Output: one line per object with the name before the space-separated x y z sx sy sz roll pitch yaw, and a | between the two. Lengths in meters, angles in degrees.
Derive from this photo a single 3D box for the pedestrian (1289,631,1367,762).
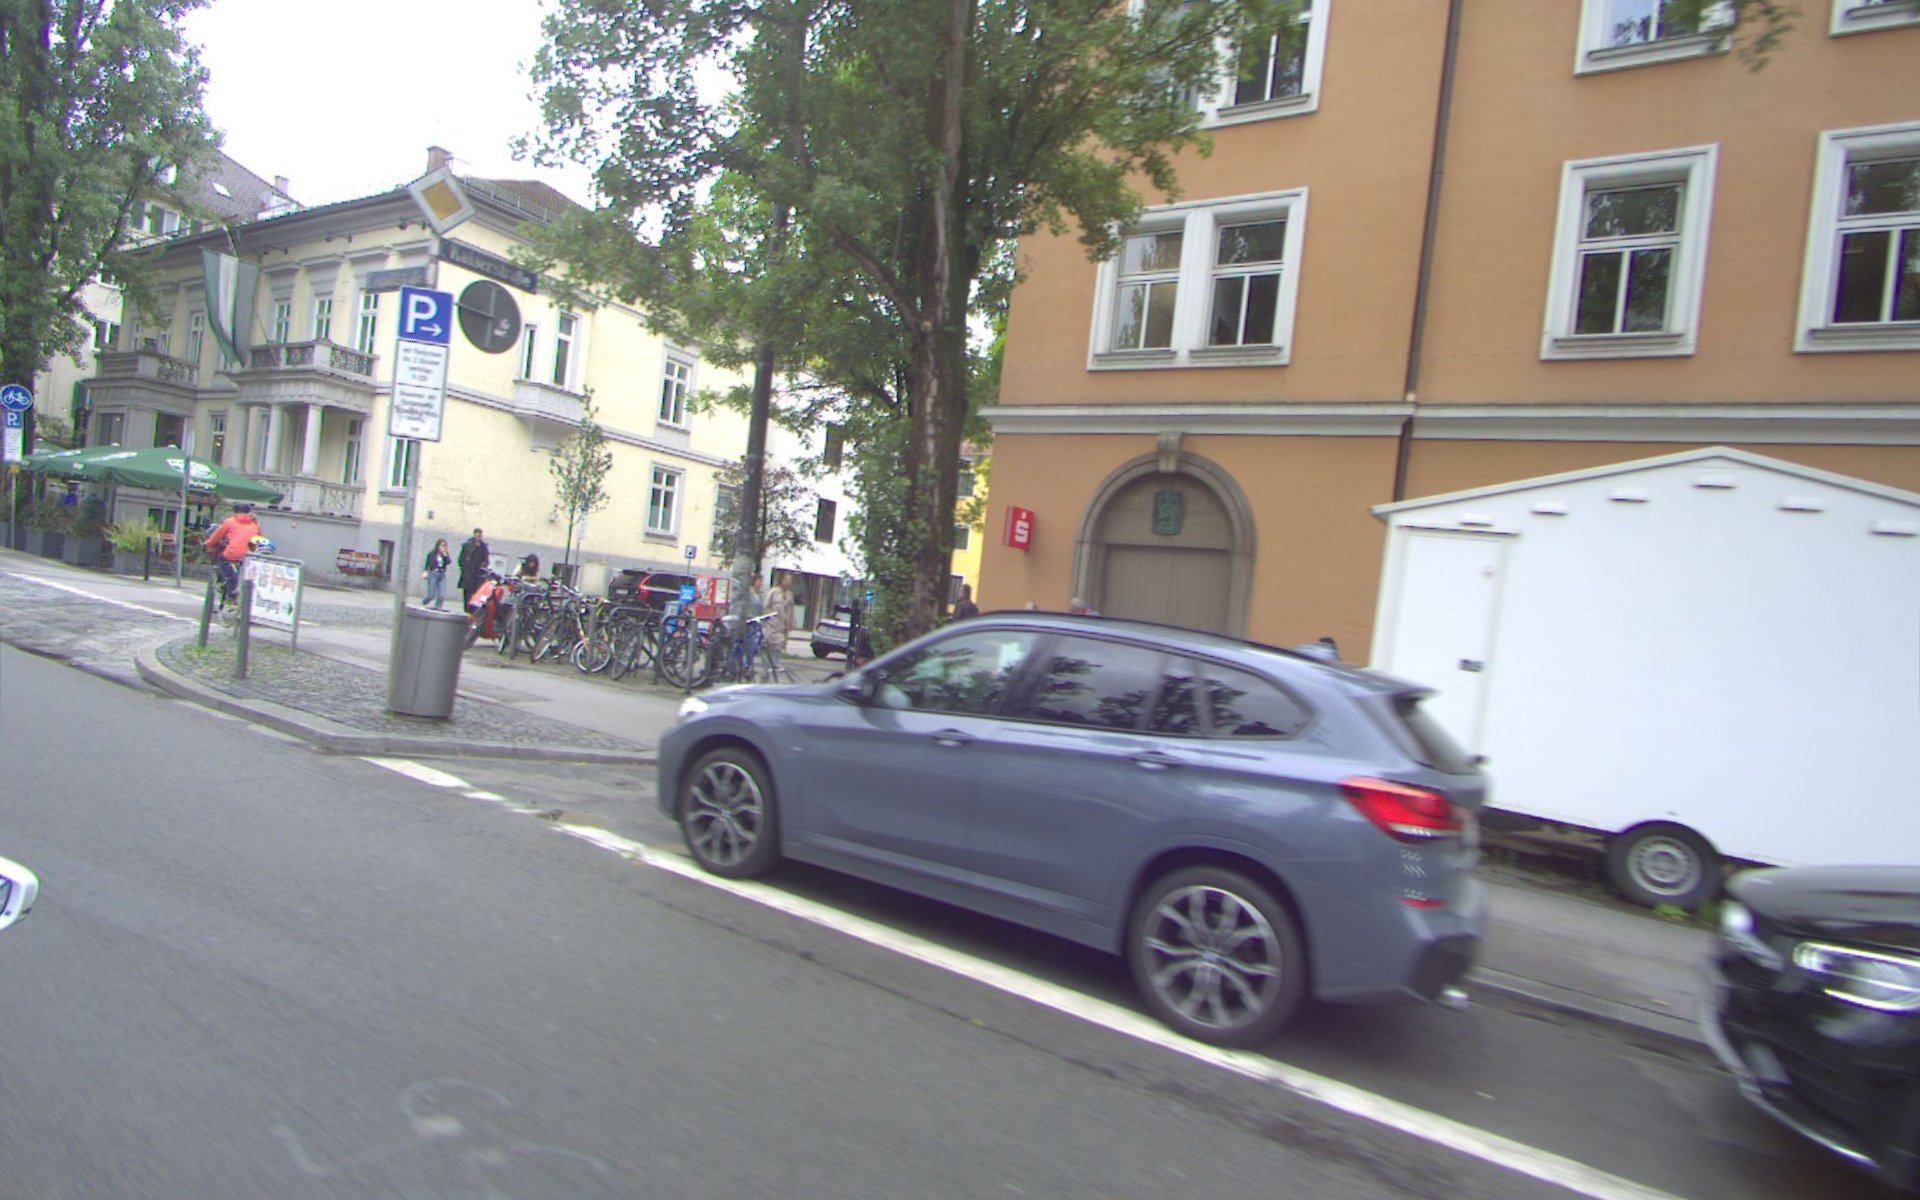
pedestrian | 4.805 1.253 13.120 0.653 1.589 0.745 6 -1 33

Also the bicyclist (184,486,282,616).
bicyclist | -10.820 -0.718 14.985 0.870 1.788 0.768 7 1 31

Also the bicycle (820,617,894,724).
bicycle | -1.144 0.772 11.458 0.316 1.098 1.609 7 0 9

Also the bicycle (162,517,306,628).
bicycle | -10.823 -0.424 14.971 2.408 1.366 0.773 7 0 31

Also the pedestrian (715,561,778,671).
pedestrian | -3.512 0.273 16.563 0.564 1.713 0.619 7 -1 23

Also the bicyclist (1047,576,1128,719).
bicyclist | 1.688 0.617 13.399 0.656 1.779 0.829 7 0 -10

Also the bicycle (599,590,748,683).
bicycle | -3.767 0.518 13.392 0.551 1.098 1.943 7 0 32

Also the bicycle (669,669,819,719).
bicycle | -2.418 1.049 11.468 0.816 0.378 1.676 7 1 24

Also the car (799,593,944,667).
car | -2.327 0.869 27.442 1.874 1.537 3.996 6 -2 30

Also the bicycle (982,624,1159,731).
bicycle | 1.445 1.017 13.366 2.067 1.134 0.886 7 0 -10

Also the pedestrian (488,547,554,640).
pedestrian | -8.090 -0.111 18.544 0.605 1.589 0.745 6 -1 34

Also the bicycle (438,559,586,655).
bicycle | -6.645 0.138 15.031 0.551 1.254 1.943 7 0 32

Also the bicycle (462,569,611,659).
bicycle | -6.131 0.235 14.672 0.551 1.151 1.943 7 0 32

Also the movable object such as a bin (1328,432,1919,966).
movable object such as a bin | 5.563 0.567 7.697 4.468 3.178 2.441 7 2 32

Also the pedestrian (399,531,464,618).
pedestrian | -11.021 -0.519 20.979 0.758 1.680 0.745 6 -1 31

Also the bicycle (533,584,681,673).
bicycle | -4.892 0.428 14.098 0.551 1.089 1.943 7 0 32

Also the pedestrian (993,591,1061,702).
pedestrian | 1.020 0.707 15.243 0.565 1.589 0.698 6 -1 34

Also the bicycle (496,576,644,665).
bicycle | -5.541 0.320 14.423 0.551 1.102 1.943 7 0 32

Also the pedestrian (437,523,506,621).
pedestrian | -10.559 -0.604 21.762 0.788 1.971 0.839 7 -1 30

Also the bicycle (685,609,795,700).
bicycle | -2.691 0.679 12.460 0.336 1.022 1.602 7 0 24

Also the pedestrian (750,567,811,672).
pedestrian | -3.079 0.338 17.260 0.564 1.713 0.634 7 -1 27

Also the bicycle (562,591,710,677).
bicycle | -4.394 0.492 13.781 0.551 1.022 1.943 7 0 32

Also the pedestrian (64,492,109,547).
pedestrian | -29.076 -2.672 33.483 0.862 1.698 0.798 7 1 32

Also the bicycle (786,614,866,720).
bicycle | -1.500 0.734 11.491 0.335 1.098 1.603 7 0 9

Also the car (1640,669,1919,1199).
car | 4.566 1.319 2.570 4.423 1.633 1.788 7 -1 31

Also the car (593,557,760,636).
car | -8.400 -0.059 30.151 1.941 1.721 4.420 6 -2 36

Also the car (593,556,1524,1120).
car | 0.347 0.837 5.317 4.423 1.571 1.788 7 -1 31

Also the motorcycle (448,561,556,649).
motorcycle | -7.146 0.094 15.805 0.505 1.236 1.961 7 0 6

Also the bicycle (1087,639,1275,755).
bicycle | 2.727 1.189 12.570 2.063 1.134 0.737 7 0 -1

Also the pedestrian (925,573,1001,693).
pedestrian | 0.050 0.527 15.909 0.720 1.786 0.698 6 -1 34

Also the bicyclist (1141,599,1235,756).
bicyclist | 2.663 0.888 11.840 0.728 1.708 0.748 7 0 -1
